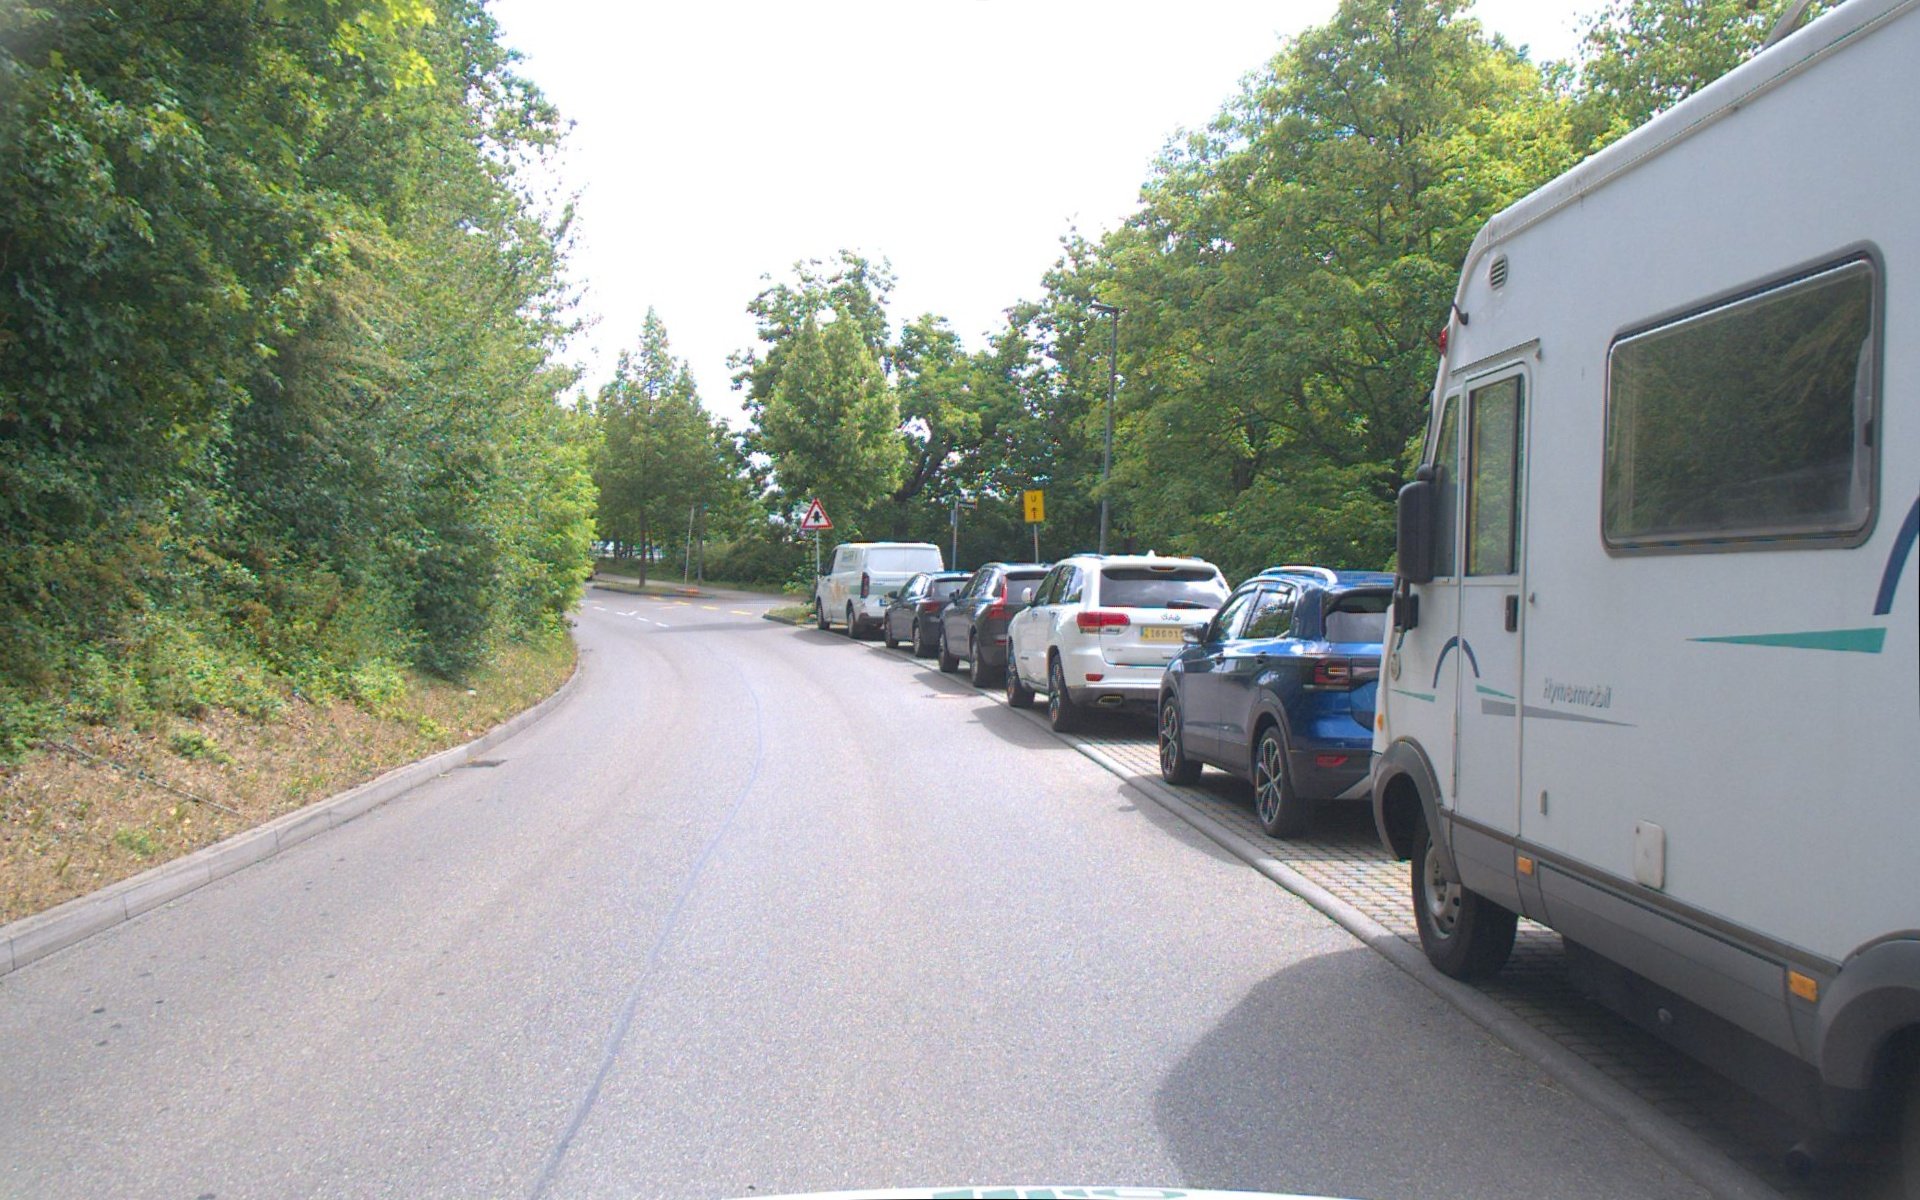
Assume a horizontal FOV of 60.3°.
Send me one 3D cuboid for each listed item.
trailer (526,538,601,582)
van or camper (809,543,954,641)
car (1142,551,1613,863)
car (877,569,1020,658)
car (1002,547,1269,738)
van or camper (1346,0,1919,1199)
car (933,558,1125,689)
[{"bbox_3d":[-15.851,-1.604,65.986,1.767,1.552,3.957,-1,4,-32],"label":"trailer"},{"bbox_3d":[-1.799,-0.241,35.880,1.961,1.953,5.243,0,2,-16],"label":"van or camper"},{"bbox_3d":[2.505,0.572,10.984,1.678,1.619,3.995,3,0,-6],"label":"car"},{"bbox_3d":[-0.281,0.202,30.121,1.767,1.489,3.987,1,1,-13],"label":"car"},{"bbox_3d":[1.698,0.352,17.678,1.836,1.718,4.573,2,1,-7],"label":"car"},{"bbox_3d":[2.969,-0.038,4.228,2.285,2.919,6.148,1,0,-2],"label":"van or camper"},{"bbox_3d":[0.880,0.247,23.755,1.957,1.654,4.270,-1,2,-9],"label":"car"}]
